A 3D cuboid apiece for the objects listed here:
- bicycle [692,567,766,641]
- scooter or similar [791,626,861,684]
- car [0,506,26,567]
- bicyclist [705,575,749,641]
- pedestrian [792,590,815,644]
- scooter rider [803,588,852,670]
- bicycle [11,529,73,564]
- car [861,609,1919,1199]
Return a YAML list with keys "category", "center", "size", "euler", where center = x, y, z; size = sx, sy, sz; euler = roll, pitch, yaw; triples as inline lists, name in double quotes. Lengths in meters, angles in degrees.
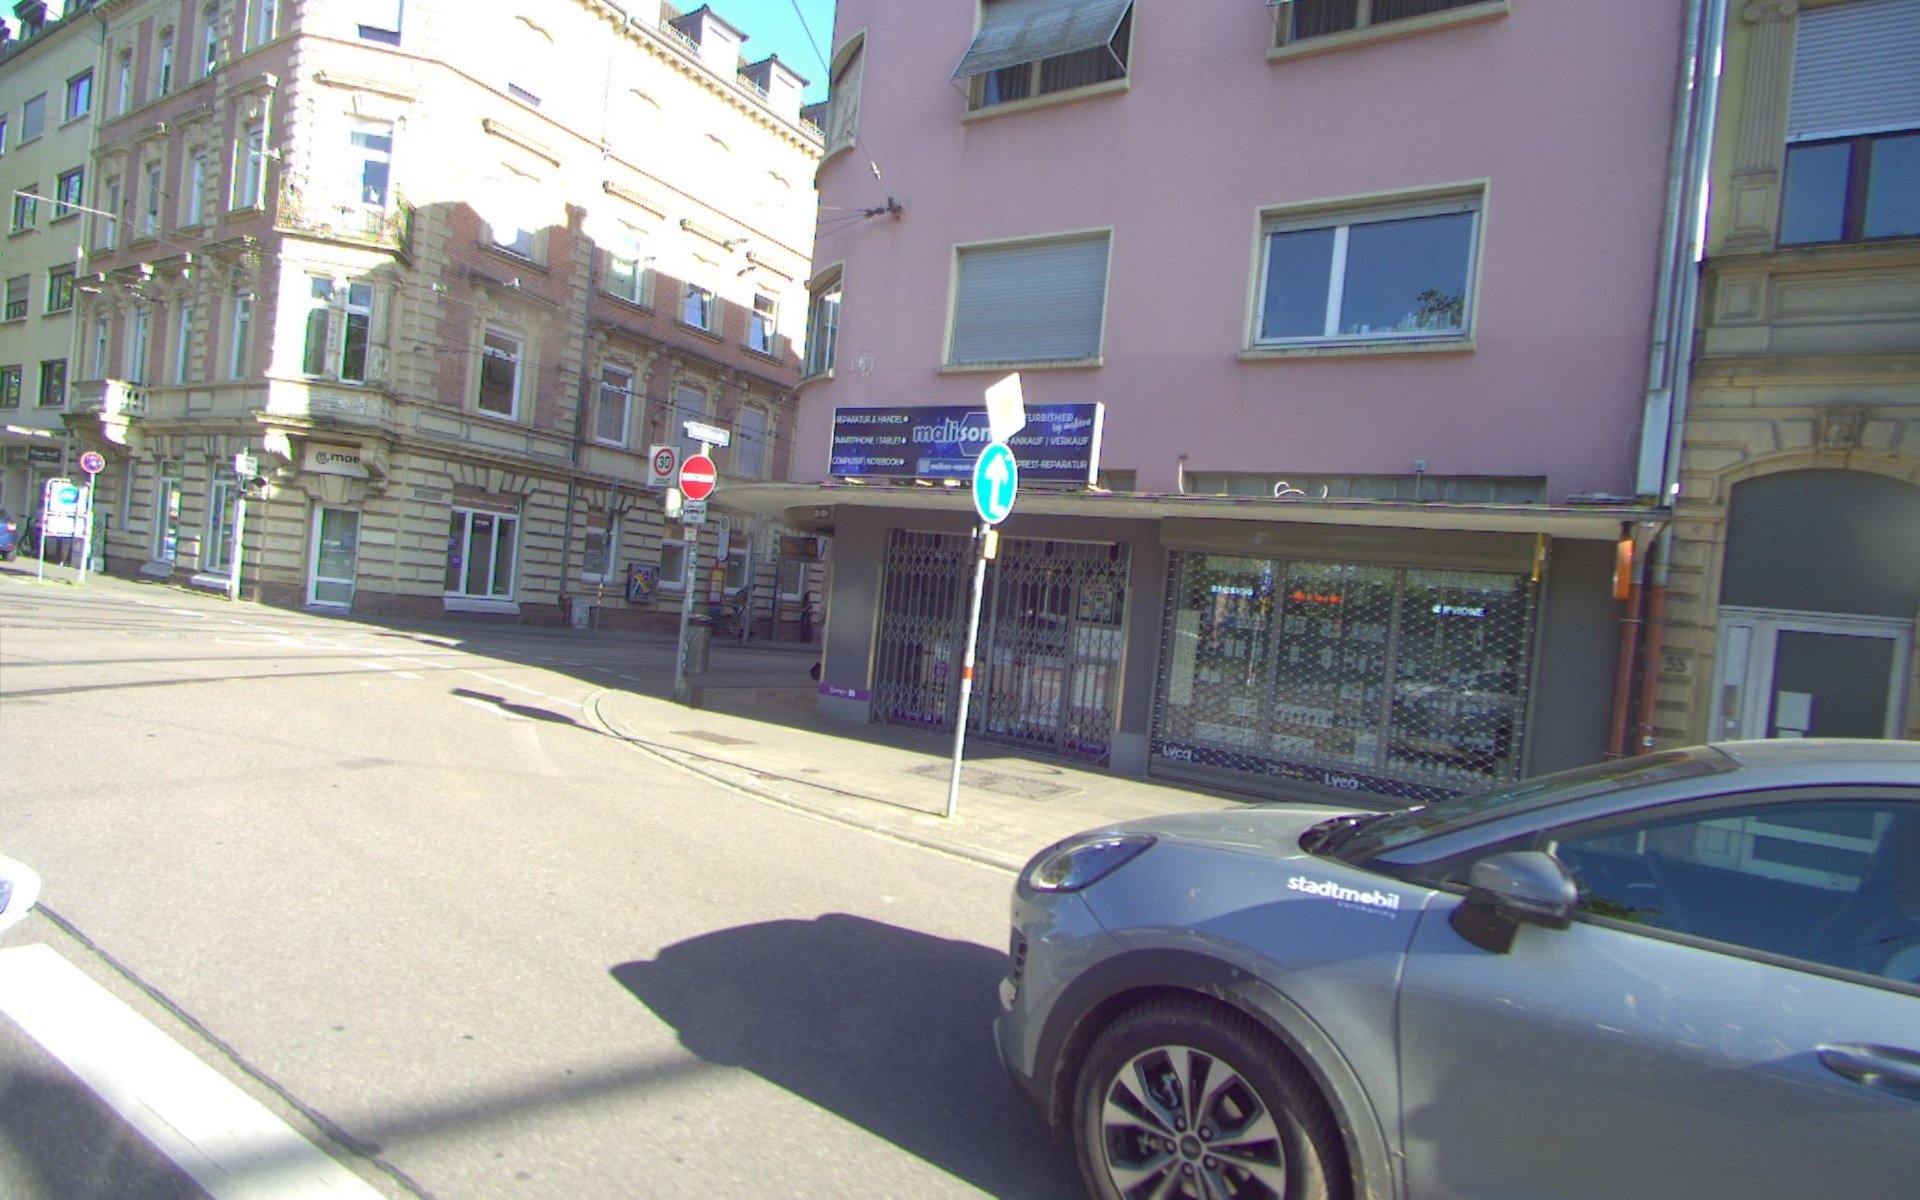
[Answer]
- category: "bicycle"
  center: [-6.964, 0.159, 30.409]
  size: [0.596, 2.038, 2.182]
  euler: [7, 0, 33]
- category: "scooter or similar"
  center: [-2.630, 1.083, 19.824]
  size: [1.262, 1.000, 0.338]
  euler: [7, 1, -8]
- category: "car"
  center: [-26.736, -1.866, 26.817]
  size: [3.577, 1.537, 1.738]
  euler: [6, -1, 32]
- category: "bicyclist"
  center: [-7.019, 0.246, 30.339]
  size: [0.737, 1.852, 0.856]
  euler: [6, 0, 33]
- category: "pedestrian"
  center: [-5.256, 0.555, 33.722]
  size: [0.566, 1.739, 0.561]
  euler: [6, 0, -8]
- category: "scooter rider"
  center: [-2.611, 0.560, 19.817]
  size: [0.797, 1.524, 0.466]
  euler: [6, 1, -10]
- category: "bicycle"
  center: [-25.931, -1.516, 28.401]
  size: [1.913, 0.780, 0.755]
  euler: [6, 0, 32]
- category: "car"
  center: [2.063, 1.052, 2.093]
  size: [4.311, 1.546, 1.699]
  euler: [6, -1, 34]
